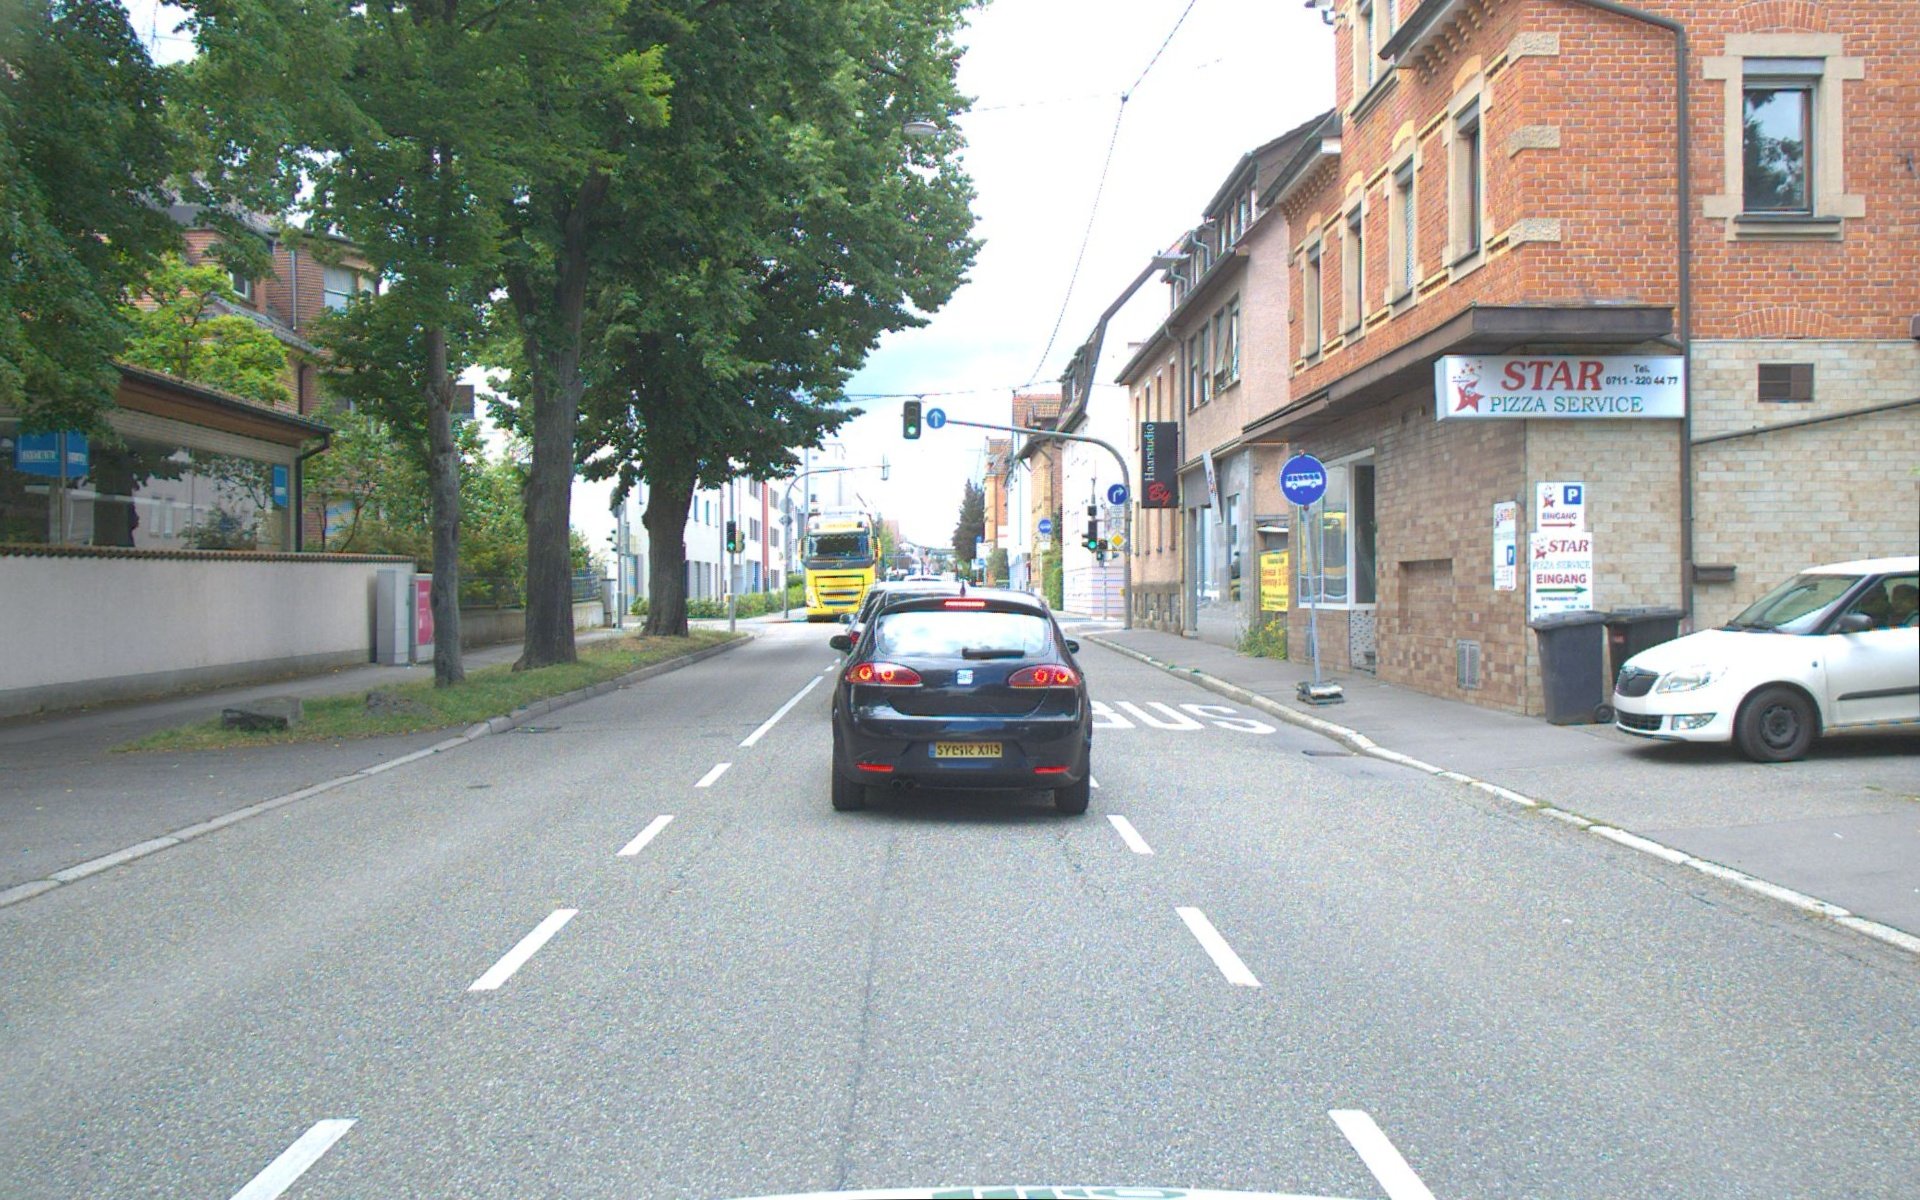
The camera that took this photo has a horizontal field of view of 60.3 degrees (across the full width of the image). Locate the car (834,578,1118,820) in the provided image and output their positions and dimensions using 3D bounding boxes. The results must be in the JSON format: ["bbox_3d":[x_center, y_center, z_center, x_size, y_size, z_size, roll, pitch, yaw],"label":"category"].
[{"bbox_3d":[0.062,0.597,12.123,1.723,1.467,3.999,1,0,-1],"label":"car"}]

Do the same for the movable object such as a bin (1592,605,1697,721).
[{"bbox_3d":[6.704,0.604,16.227,0.684,1.077,0.723,-2,0,-1],"label":"movable object such as a bin"}]

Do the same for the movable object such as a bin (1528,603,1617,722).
[{"bbox_3d":[5.984,0.601,16.188,0.594,1.120,0.622,-2,0,-1],"label":"movable object such as a bin"}]

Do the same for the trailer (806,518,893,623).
[{"bbox_3d":[-4.367,-1.127,68.304,2.800,3.874,14.388,1,0,-1],"label":"trailer"}]

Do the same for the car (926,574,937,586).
[{"bbox_3d":[-4.053,-2.871,234.127,1.500,1.722,3.692,-1,1,-1],"label":"car"}]

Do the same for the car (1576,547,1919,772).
[{"bbox_3d":[7.243,0.381,13.243,3.946,1.495,1.601,-5,0,1],"label":"car"}]

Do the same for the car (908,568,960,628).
[{"bbox_3d":[-0.804,-0.069,49.740,1.500,1.722,3.692,1,0,-1],"label":"car"}]

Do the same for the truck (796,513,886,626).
[{"bbox_3d":[-4.257,-1.079,60.817,2.786,3.848,7.668,1,0,-1],"label":"truck"}]

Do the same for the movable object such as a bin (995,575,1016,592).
[{"bbox_3d":[3.947,-1.444,144.893,1.781,1.462,1.993,1,0,0],"label":"movable object such as a bin"}]

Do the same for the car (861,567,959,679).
[{"bbox_3d":[-0.812,0.348,27.365,1.500,1.722,3.692,1,0,-1],"label":"car"}]

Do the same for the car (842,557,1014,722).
[{"bbox_3d":[-0.383,0.410,19.525,1.805,1.722,3.999,1,0,-2],"label":"car"}]
